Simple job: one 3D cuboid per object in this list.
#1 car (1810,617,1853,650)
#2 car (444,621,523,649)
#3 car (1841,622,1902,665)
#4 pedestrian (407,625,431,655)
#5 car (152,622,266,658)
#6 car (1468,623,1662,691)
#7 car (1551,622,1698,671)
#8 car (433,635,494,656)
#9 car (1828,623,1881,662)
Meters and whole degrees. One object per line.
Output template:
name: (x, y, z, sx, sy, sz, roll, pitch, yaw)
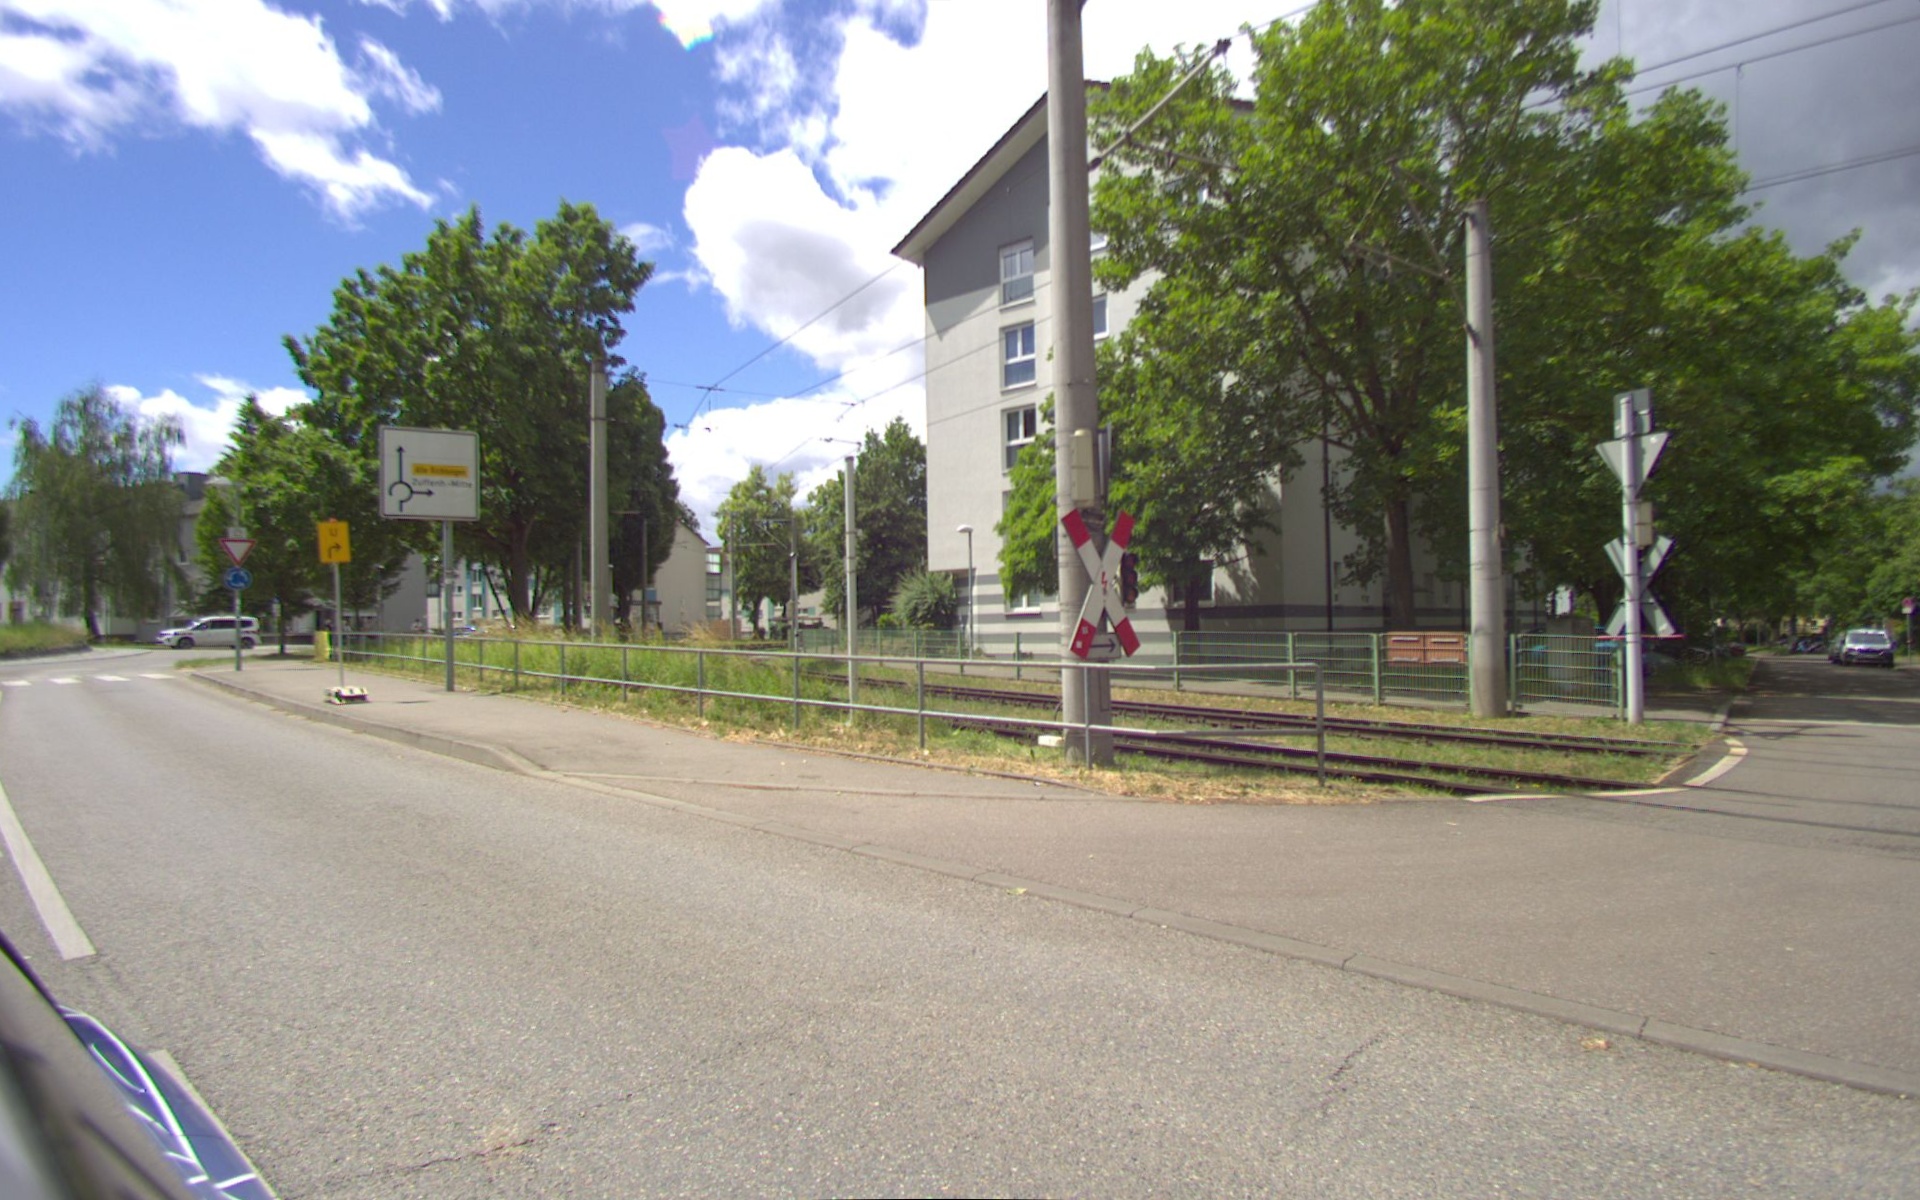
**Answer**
car: (52.754, 2.034, 61.312, 1.790, 1.937, 4.009, -2, -2, 38)
car: (-32.287, 2.372, 68.707, 1.993, 1.810, 4.570, -2, -2, 31)
car: (42.603, 2.003, 47.370, 1.790, 1.937, 4.009, -2, -2, 38)
pedestrian: (-30.725, 2.240, 57.466, 1.020, 1.677, 0.864, -2, -2, 38)
car: (-40.344, 2.128, 54.466, 1.998, 1.810, 4.559, -2, -2, 38)
car: (15.323, 1.385, 25.721, 4.101, 1.567, 1.839, -1, -1, 35)
car: (22.649, 1.559, 34.617, 4.101, 1.567, 1.839, -1, -1, 35)
car: (-36.748, 3.350, 74.911, 4.093, 1.535, 1.797, -1, -2, 20)
car: (46.095, 2.163, 52.200, 1.790, 1.937, 4.009, -2, -2, 38)
